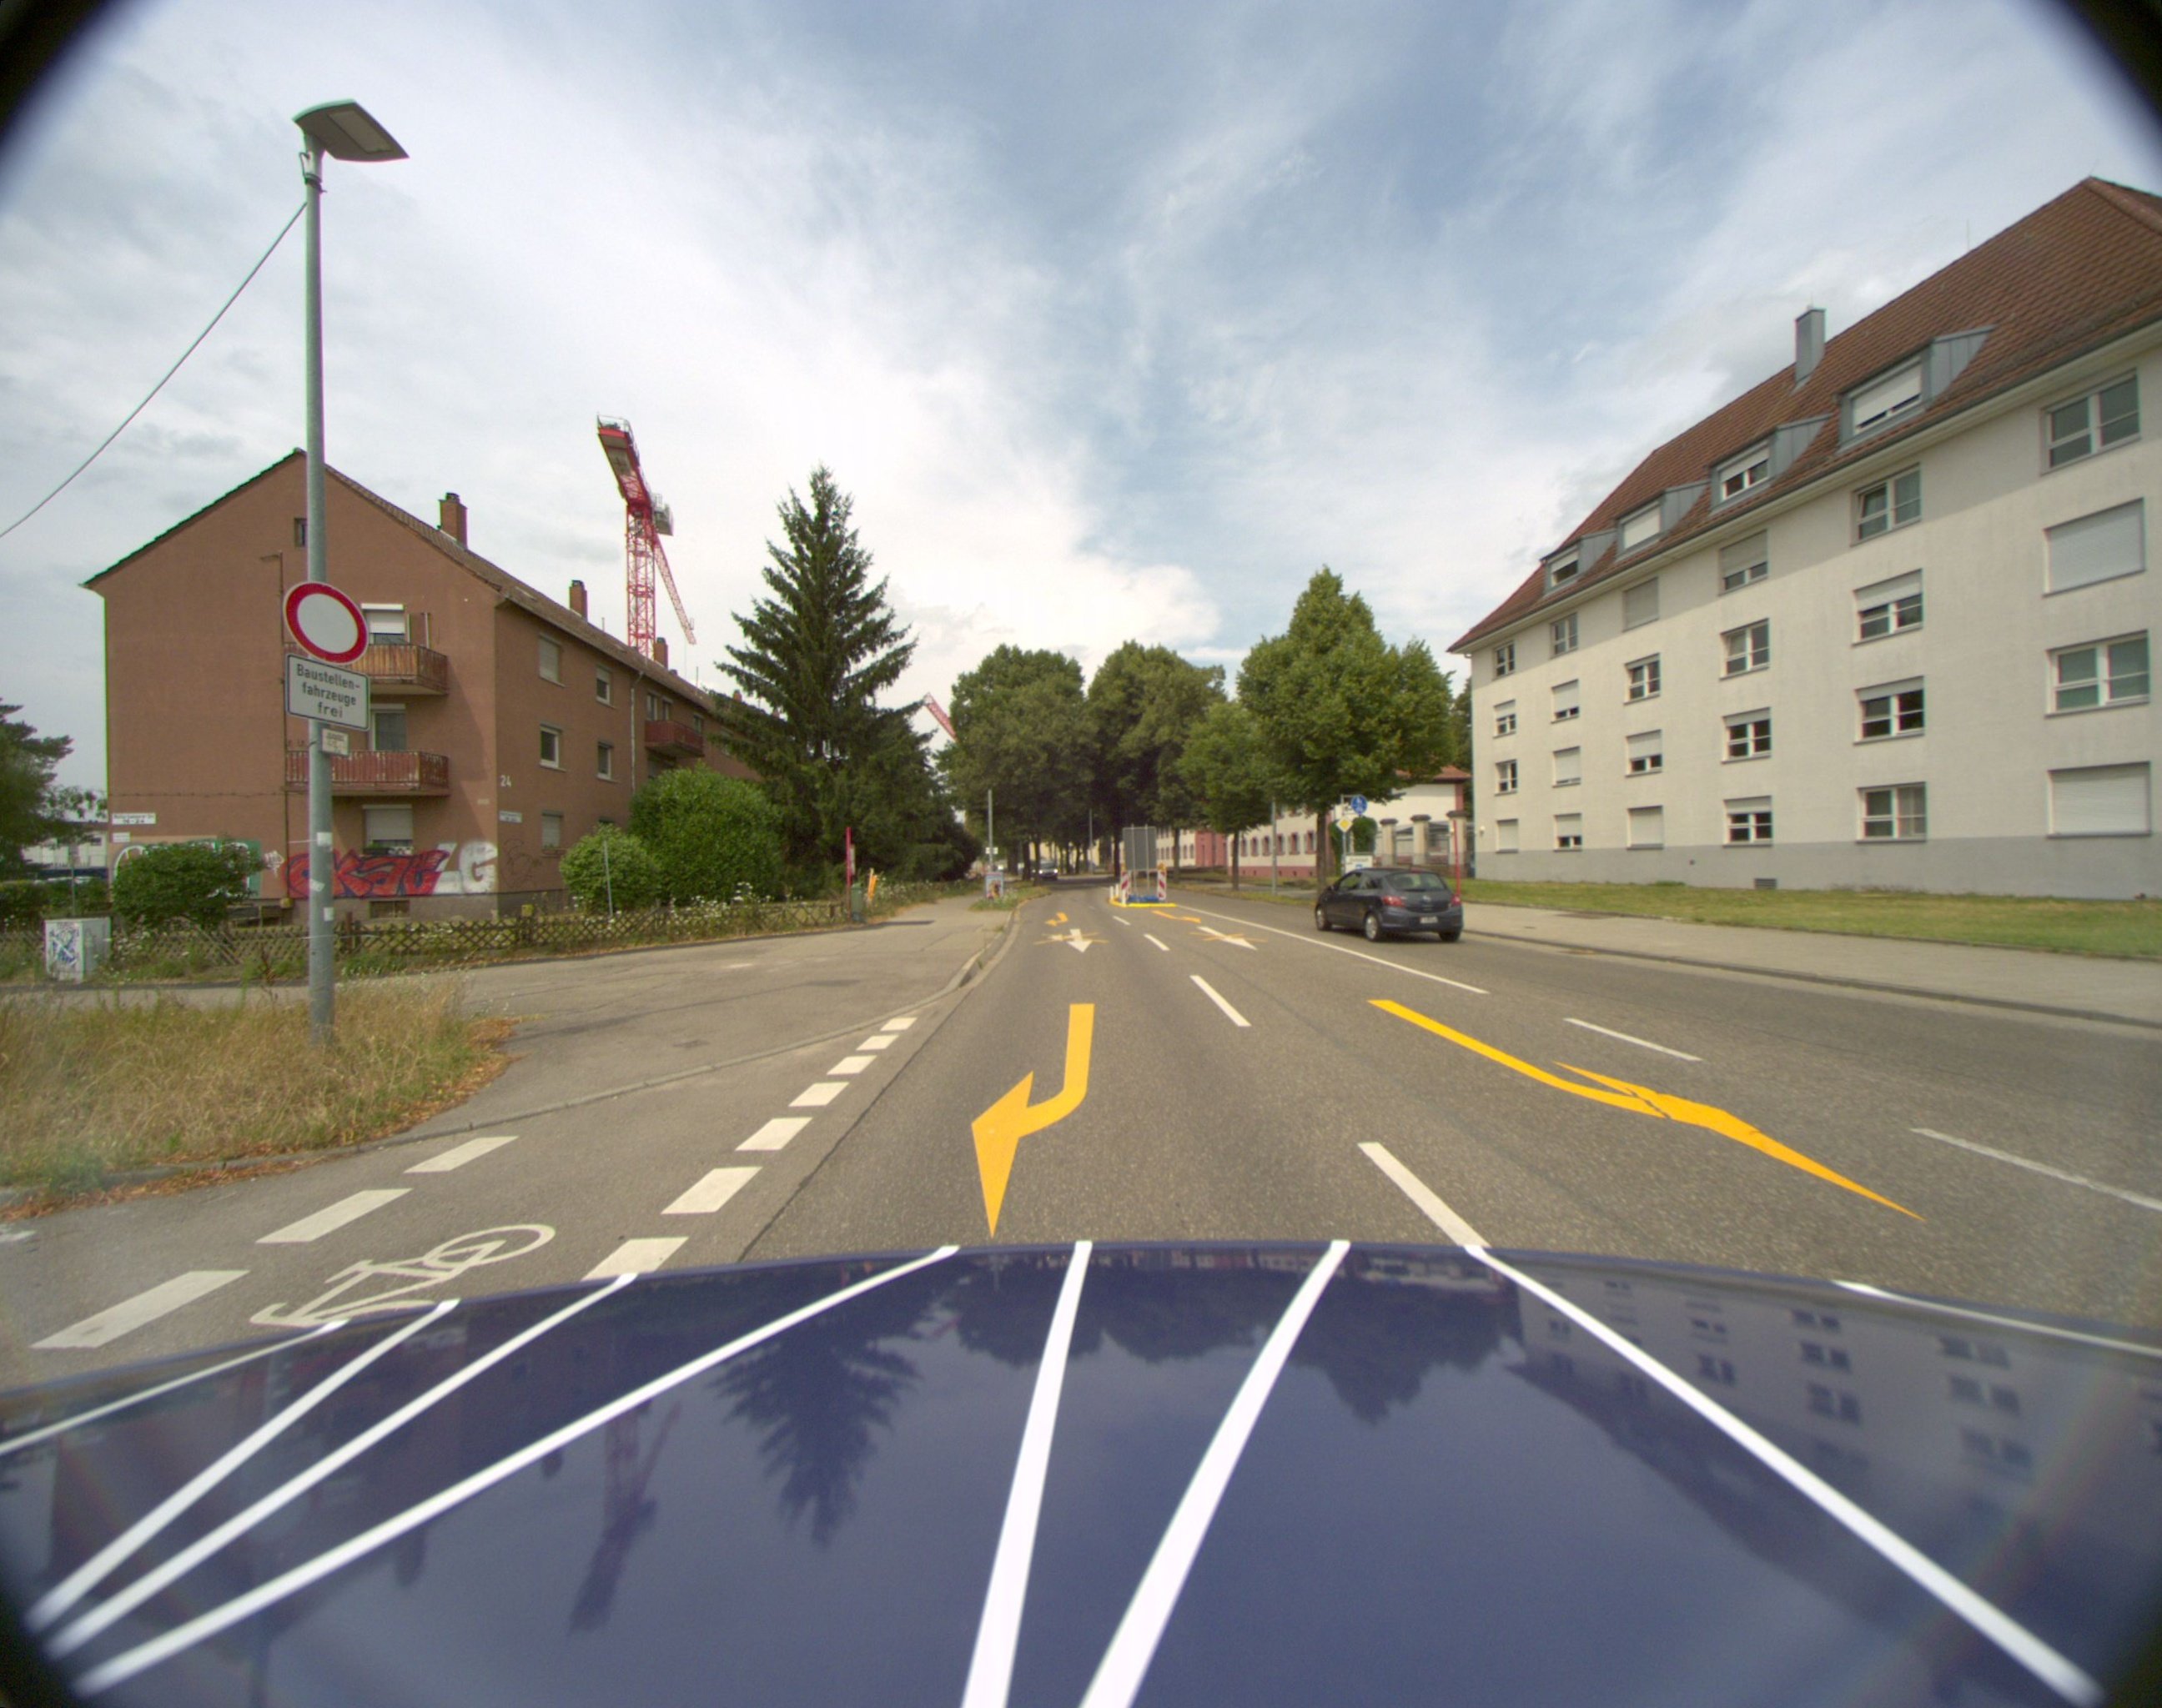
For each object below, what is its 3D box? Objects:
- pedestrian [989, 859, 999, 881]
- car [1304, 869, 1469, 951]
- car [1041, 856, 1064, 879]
[{"bbox_3d":[-8.255,1.517,72.294,0.856,2.001,0.731,-1,0,-8],"label":"pedestrian"},{"bbox_3d":[6.140,1.053,15.808,1.676,1.402,3.919,-1,0,-3],"label":"car"},{"bbox_3d":[-2.598,1.198,69.305,1.809,1.936,4.585,-1,0,1],"label":"car"}]
